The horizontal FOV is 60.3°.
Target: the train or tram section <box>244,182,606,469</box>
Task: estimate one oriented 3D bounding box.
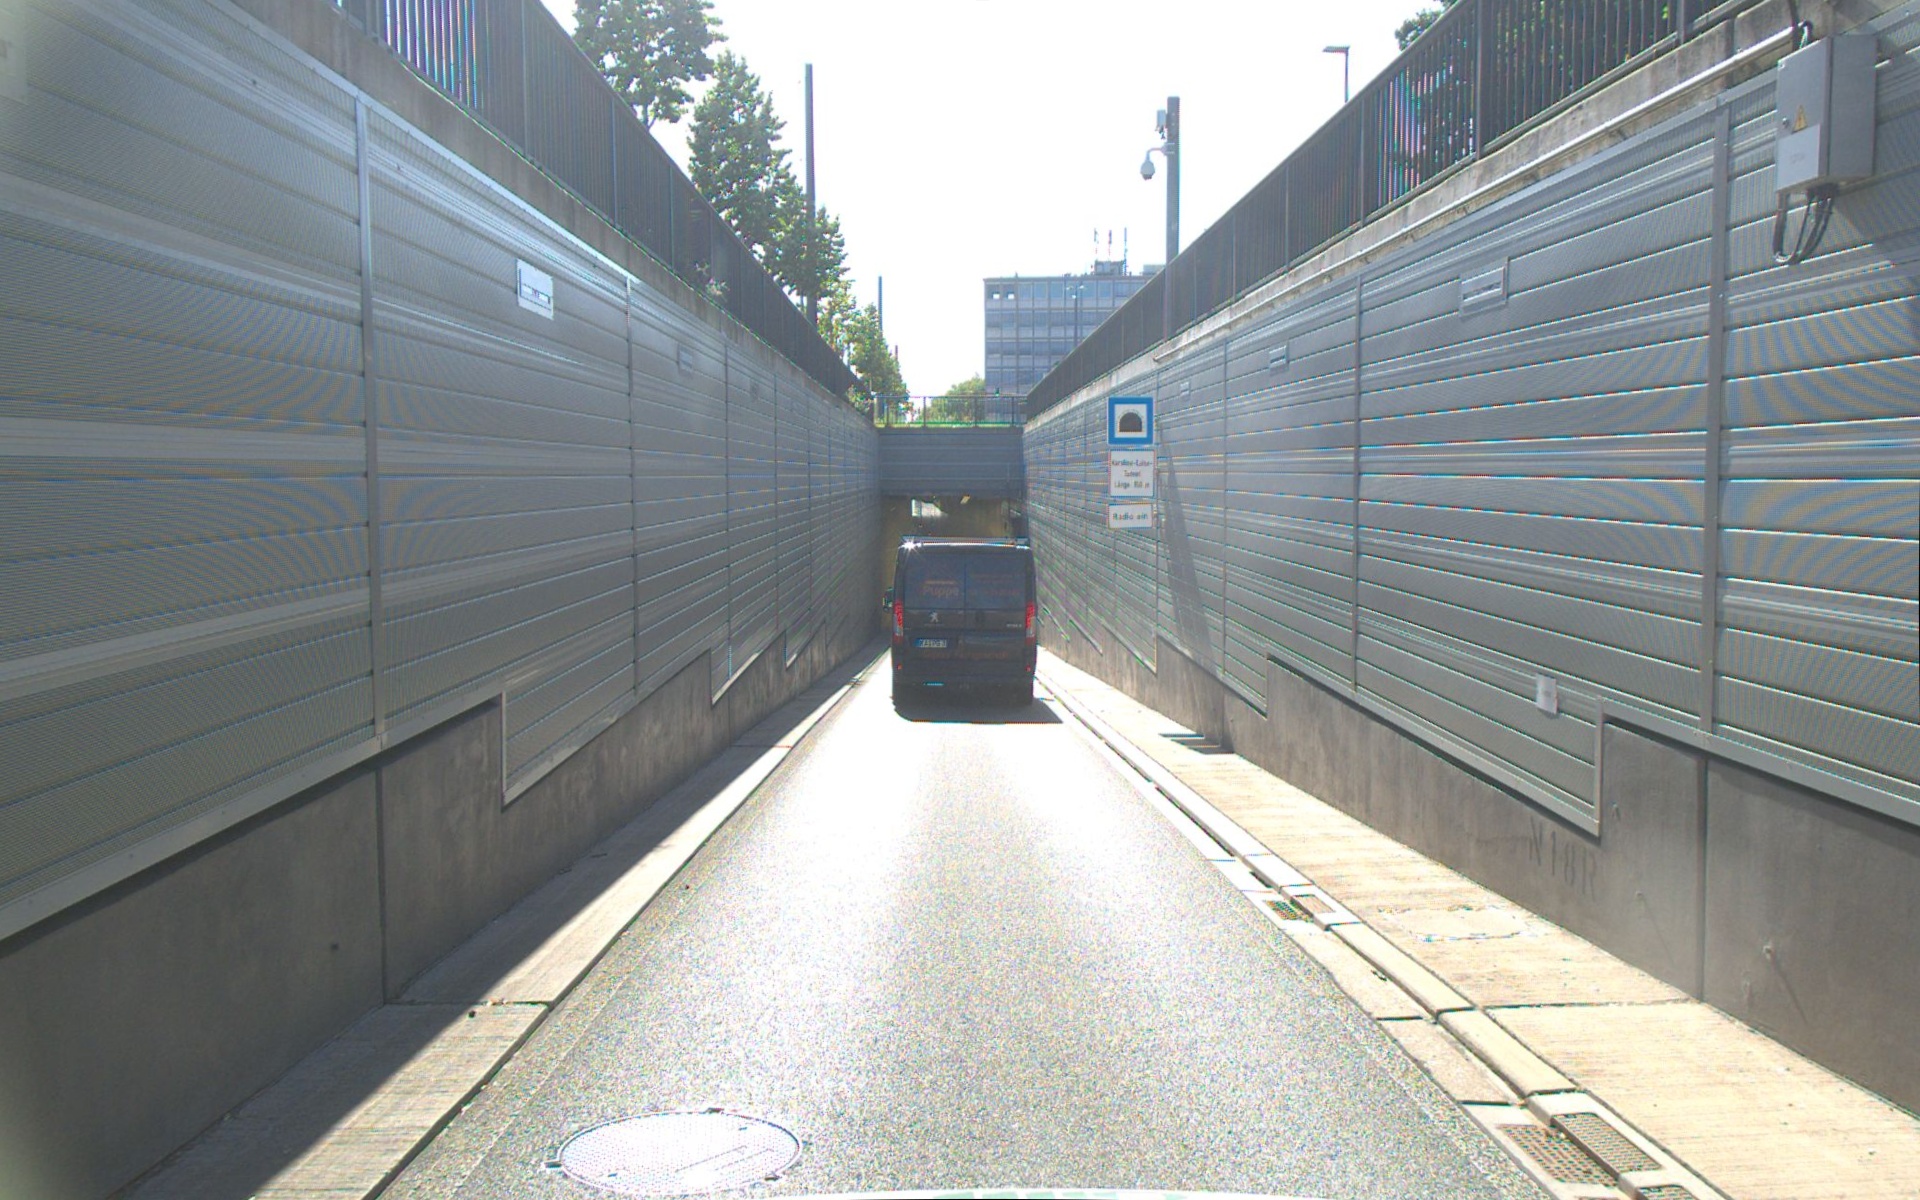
[{"bbox_3d":[-9.038,-4.436,30.203,2.557,3.886,13.094,1,4,-1],"label":"train or tram section"}]

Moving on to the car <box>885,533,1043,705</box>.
[{"bbox_3d":[0.050,0.234,24.461,2.114,2.305,4.636,0,0,0],"label":"car"}]
